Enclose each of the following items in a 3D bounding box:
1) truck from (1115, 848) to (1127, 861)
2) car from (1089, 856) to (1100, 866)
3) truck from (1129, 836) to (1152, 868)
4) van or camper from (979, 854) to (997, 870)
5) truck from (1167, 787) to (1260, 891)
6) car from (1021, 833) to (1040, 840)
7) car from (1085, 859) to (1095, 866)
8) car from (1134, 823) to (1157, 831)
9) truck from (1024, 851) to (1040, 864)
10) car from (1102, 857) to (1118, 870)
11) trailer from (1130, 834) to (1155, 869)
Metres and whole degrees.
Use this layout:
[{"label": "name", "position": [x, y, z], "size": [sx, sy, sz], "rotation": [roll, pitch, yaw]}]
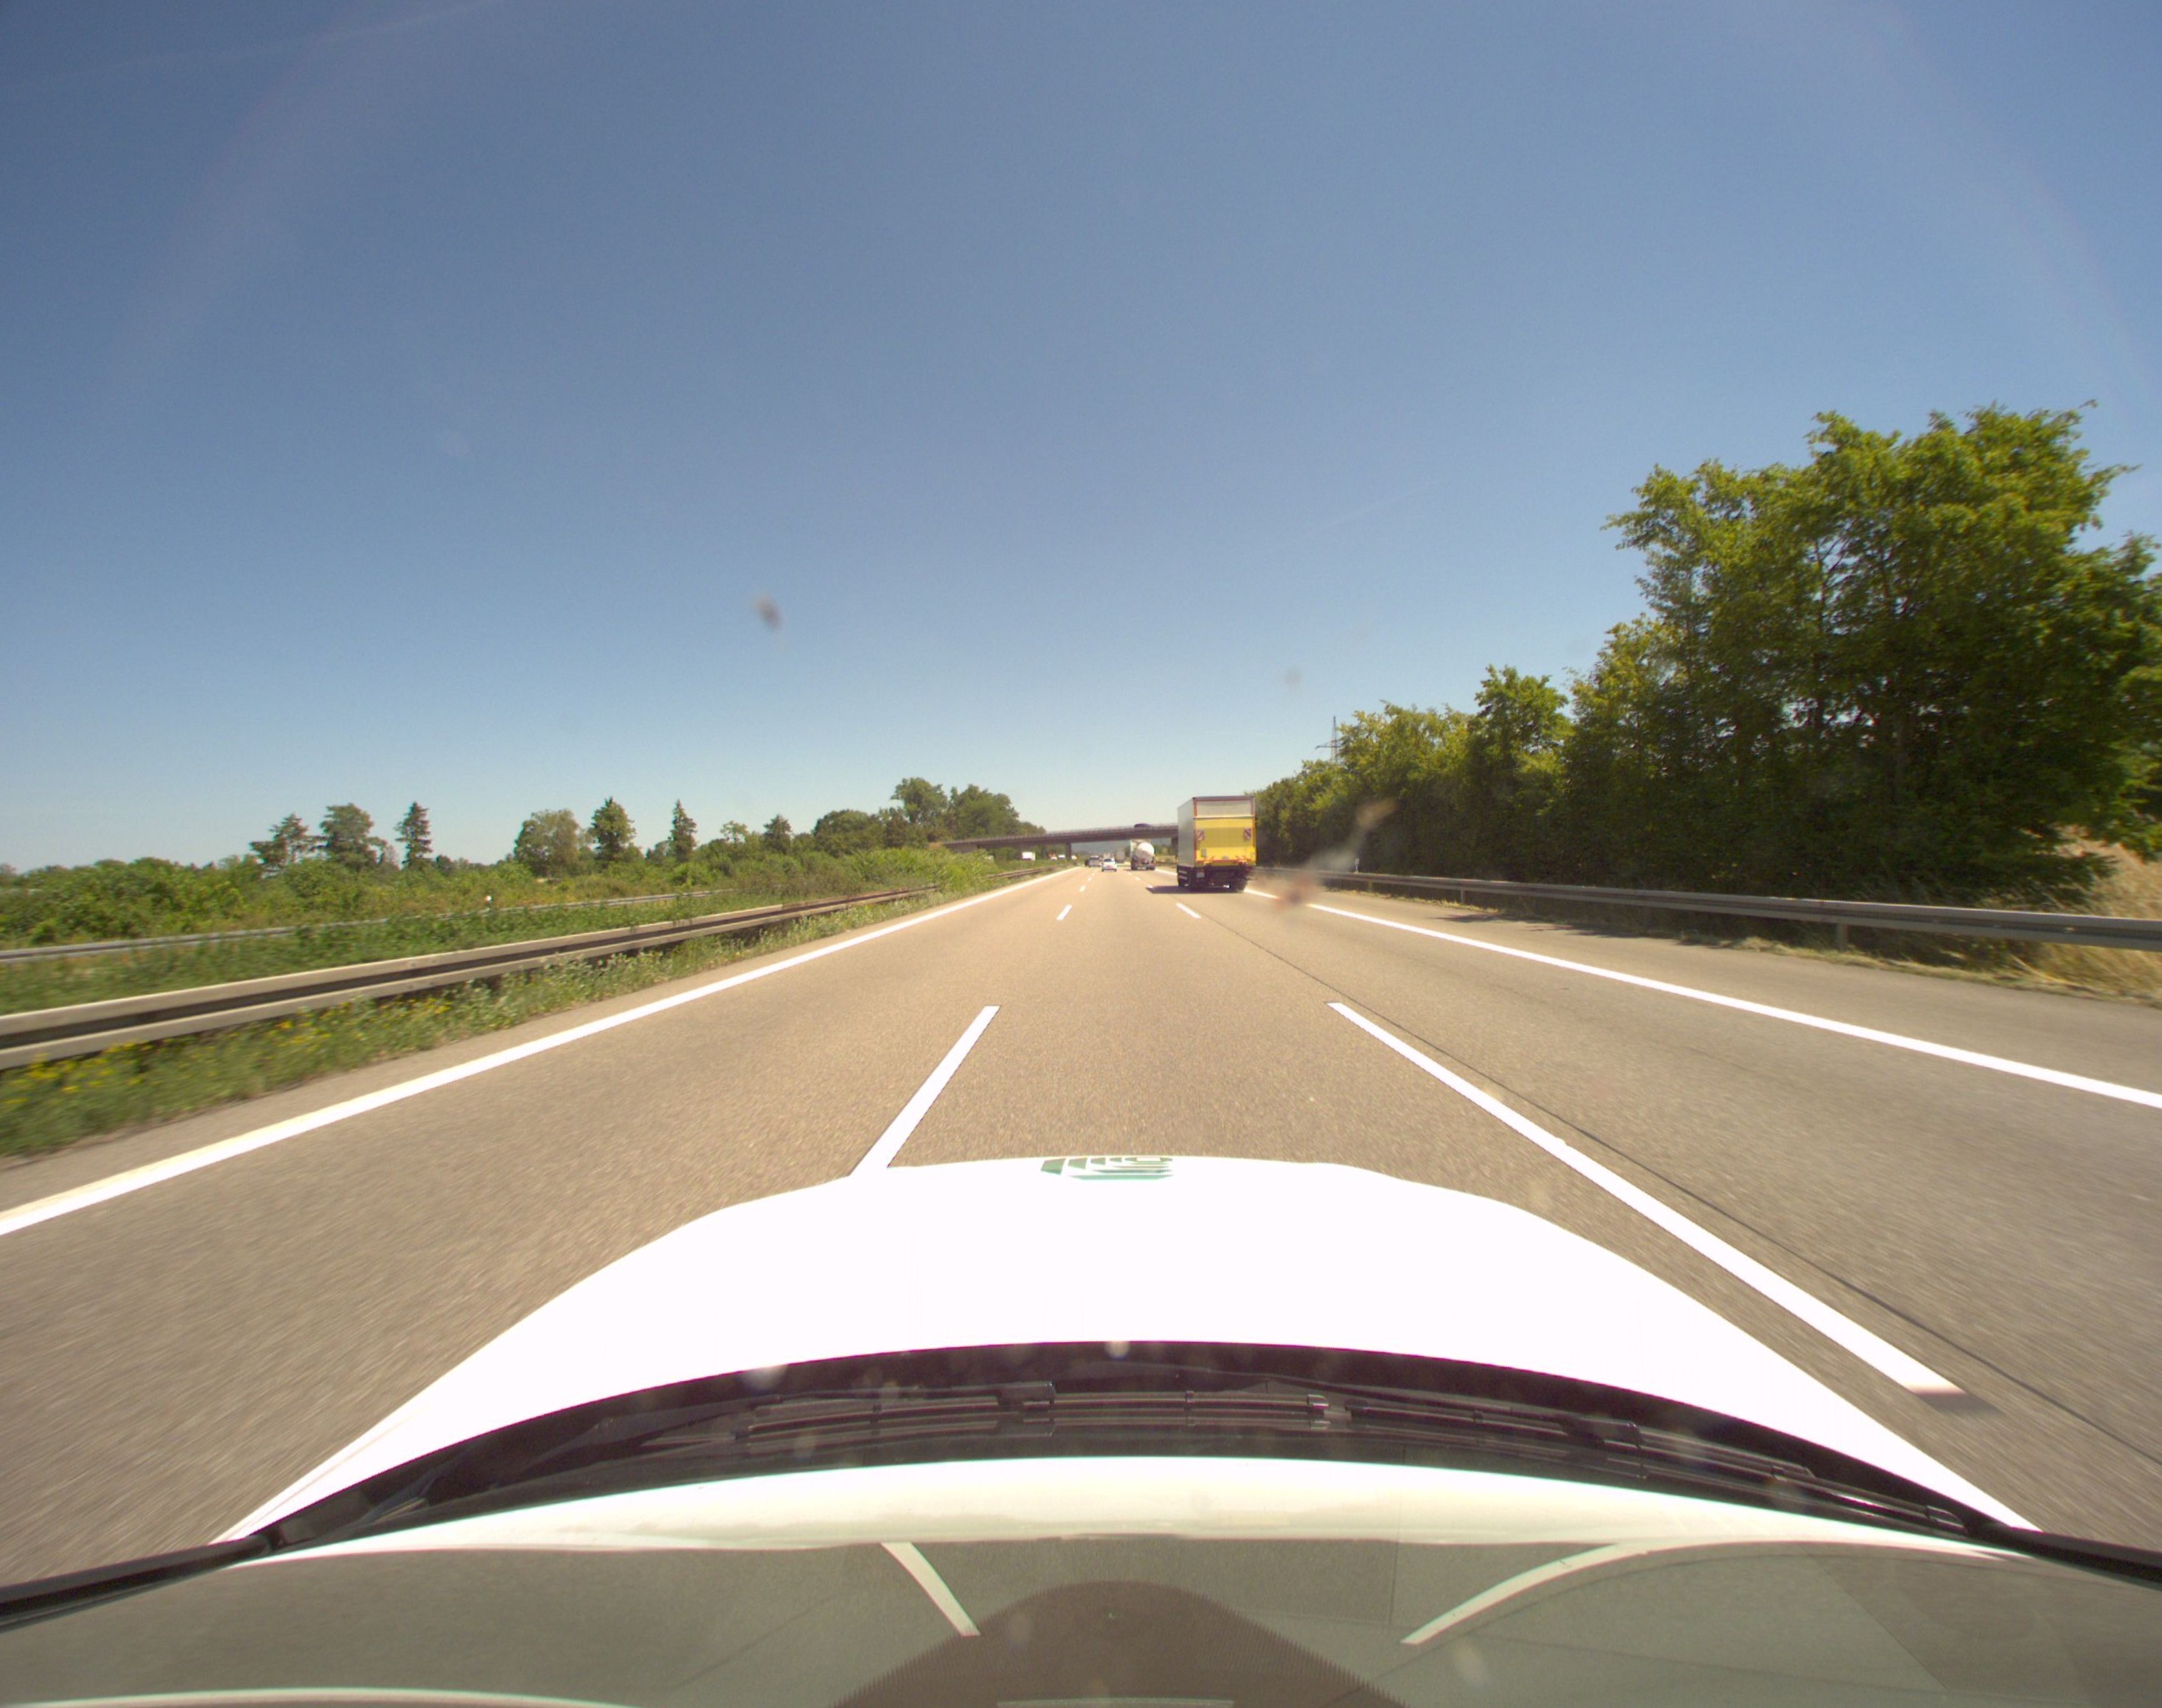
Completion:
[{"label": "truck", "position": [12.197, 0.219, 249.826], "size": [3.253, 3.857, 11.634], "rotation": [0, 0, 1]}, {"label": "car", "position": [2.262, 1.164, 137.902], "size": [1.845, 1.633, 4.002], "rotation": [0, 0, 2]}, {"label": "truck", "position": [7.573, -0.248, 104.515], "size": [2.564, 4.072, 6.394], "rotation": [0, 0, 1]}, {"label": "van or camper", "position": [-15.605, 1.342, 137.024], "size": [1.986, 2.545, 6.301], "rotation": [0, 0, 2]}, {"label": "truck", "position": [5.954, -0.595, 38.483], "size": [2.922, 4.200, 10.685], "rotation": [0, 0, 2]}, {"label": "car", "position": [-11.312, -3.931, 180.929], "size": [3.948, 1.386, 1.853], "rotation": [0, 0, 36]}, {"label": "car", "position": [1.841, 1.685, 160.431], "size": [1.828, 1.386, 4.002], "rotation": [0, 0, 2]}, {"label": "car", "position": [12.076, -5.071, 153.143], "size": [3.948, 1.386, 1.853], "rotation": [0, 0, 39]}, {"label": "truck", "position": [-12.759, 0.883, 213.284], "size": [2.864, 3.498, 10.749], "rotation": [0, 0, 5]}, {"label": "car", "position": [3.293, 1.039, 93.171], "size": [1.799, 1.468, 4.002], "rotation": [0, 0, 2]}, {"label": "trailer", "position": [7.450, -0.263, 99.741], "size": [2.570, 4.074, 11.106], "rotation": [0, 0, 1]}]
